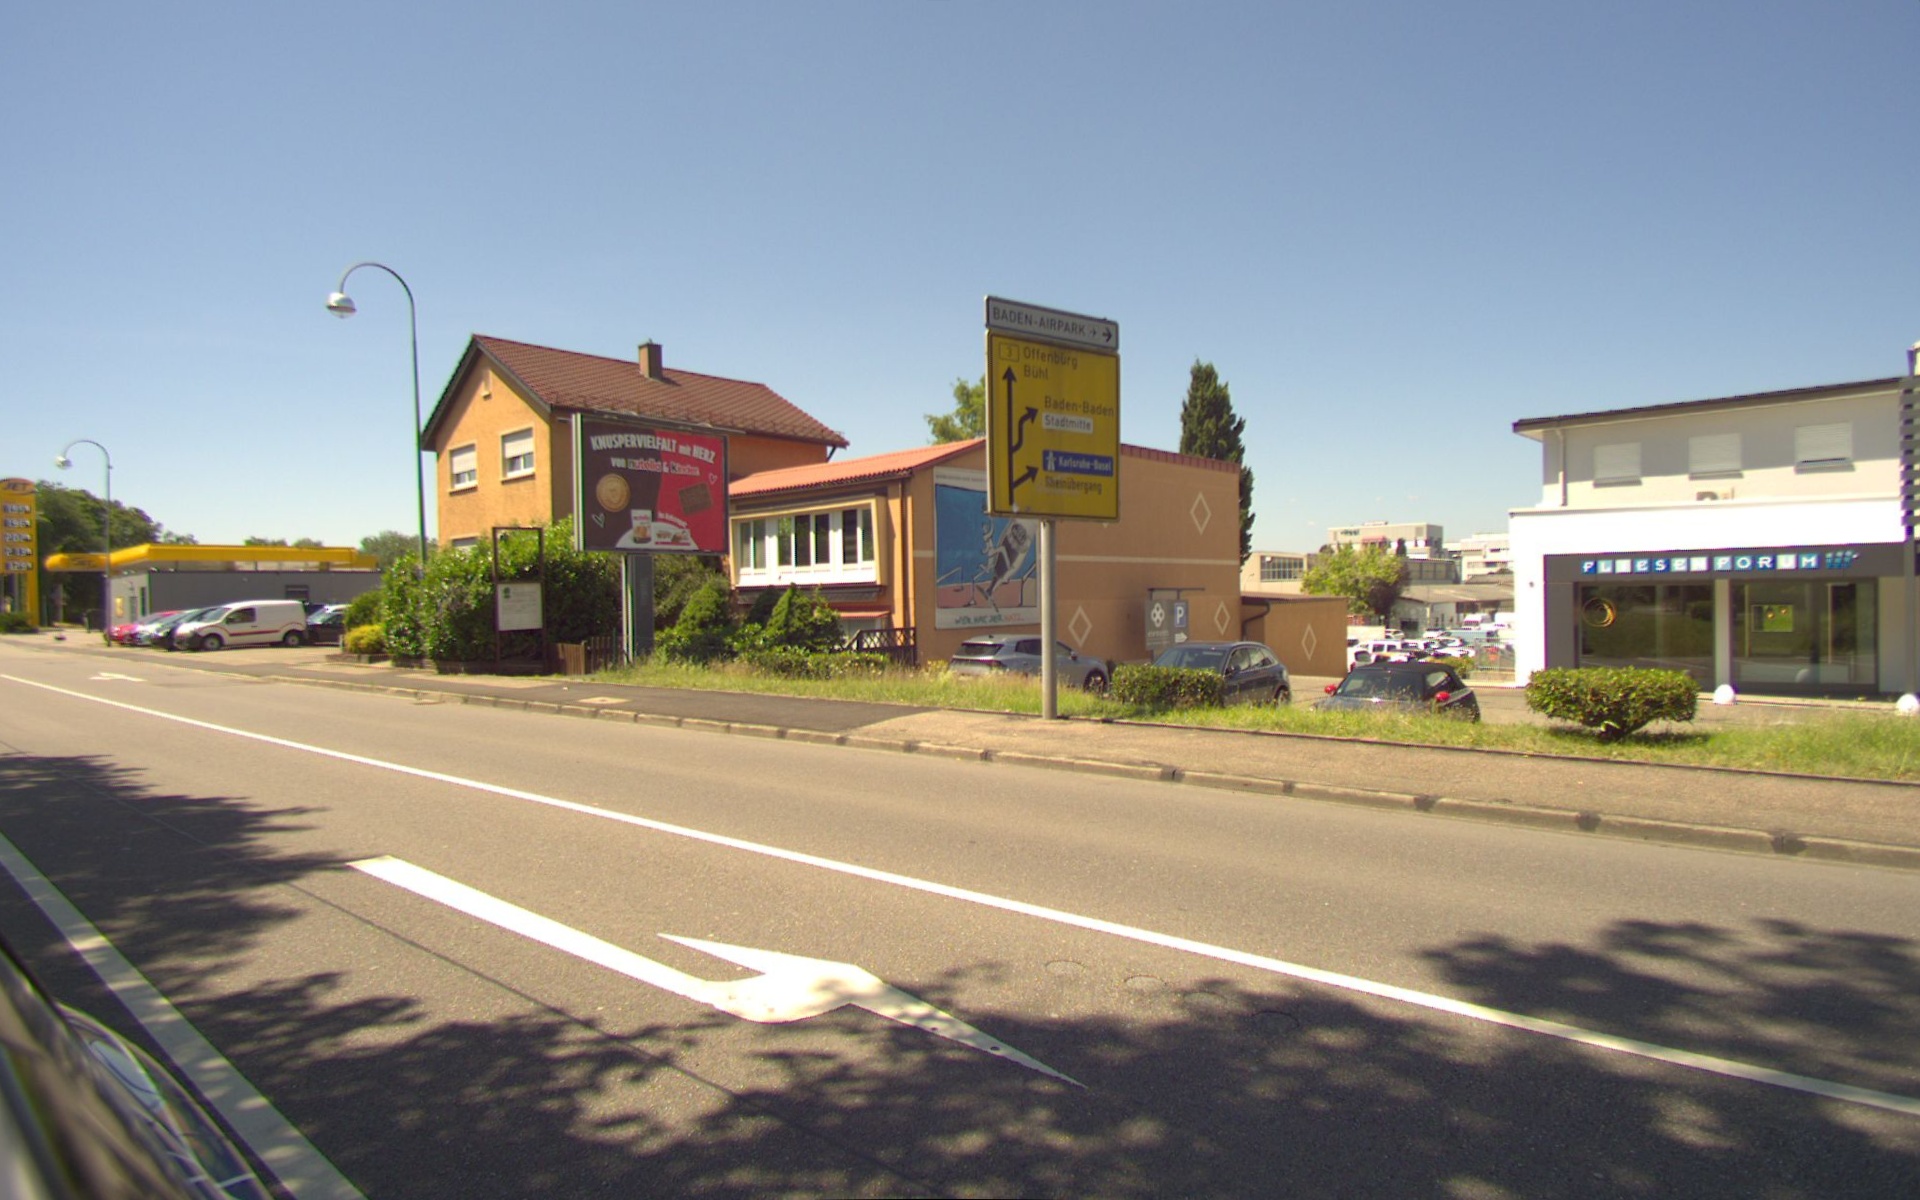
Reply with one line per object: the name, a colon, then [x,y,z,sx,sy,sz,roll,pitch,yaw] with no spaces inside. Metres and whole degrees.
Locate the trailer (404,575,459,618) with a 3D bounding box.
trailer: [-41.629,-0.224,79.659,5.911,3.244,1.845,-1,-1,41]

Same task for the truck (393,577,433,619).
truck: [-44.317,-0.138,82.040,3.188,3.267,1.826,-2,-1,41]

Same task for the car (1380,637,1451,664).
car: [30.767,3.404,68.408,3.998,1.617,1.813,0,0,41]

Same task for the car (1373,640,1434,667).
car: [28.301,3.395,64.602,3.320,1.558,1.509,0,0,41]

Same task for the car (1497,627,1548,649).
car: [42.257,2.823,76.026,3.125,1.545,1.663,0,0,41]

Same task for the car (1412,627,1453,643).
car: [44.807,3.323,95.995,3.125,1.395,1.663,0,0,41]

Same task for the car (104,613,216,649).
car: [-36.095,1.366,45.729,1.890,1.468,3.628,0,0,38]

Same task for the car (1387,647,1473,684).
car: [24.998,3.458,53.857,3.816,1.740,1.729,0,0,41]

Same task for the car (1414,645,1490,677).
car: [27.413,3.375,56.431,3.466,1.604,1.702,0,0,41]

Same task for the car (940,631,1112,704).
car: [1.609,1.492,23.599,3.979,1.462,1.781,0,-1,-43]

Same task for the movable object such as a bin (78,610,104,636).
movable object such as a bin: [-54.570,1.463,63.582,1.427,1.528,0.942,-2,3,42]

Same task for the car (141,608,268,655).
car: [-29.465,1.181,39.533,1.920,1.685,3.628,0,0,38]

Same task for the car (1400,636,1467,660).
car: [33.598,3.400,71.887,3.998,1.486,1.733,0,0,41]

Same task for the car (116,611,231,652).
car: [-34.214,1.340,44.087,1.879,1.617,3.628,0,0,38]

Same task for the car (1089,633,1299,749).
car: [4.377,1.532,18.491,1.895,1.699,4.285,0,0,42]

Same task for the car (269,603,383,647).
car: [-28.077,1.068,44.905,1.998,1.875,3.864,-1,-1,39]

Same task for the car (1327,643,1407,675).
car: [23.698,3.406,58.954,3.998,1.665,1.725,0,0,41]

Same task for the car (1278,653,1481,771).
car: [6.535,1.619,15.640,1.781,1.434,3.300,-1,-1,45]

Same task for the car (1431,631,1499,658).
car: [36.437,3.156,73.044,3.998,1.829,1.973,-1,-1,41]

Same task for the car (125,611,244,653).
car: [-32.645,1.313,42.676,1.920,1.593,3.628,0,0,38]

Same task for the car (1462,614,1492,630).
car: [61.224,2.604,119.827,3.939,1.843,2.002,-1,0,-43]

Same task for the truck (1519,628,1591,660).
truck: [40.411,2.976,68.809,3.982,1.992,1.663,0,1,41]

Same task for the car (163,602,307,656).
car: [-27.541,1.047,38.571,1.996,1.912,4.057,0,0,36]

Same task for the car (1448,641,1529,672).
car: [31.462,3.334,60.321,3.998,1.648,1.824,0,0,41]

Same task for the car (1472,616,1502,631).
car: [59.303,2.595,113.834,2.000,1.608,3.943,-1,-1,43]

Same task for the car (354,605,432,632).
car: [-35.929,1.144,64.183,1.754,1.596,3.944,0,0,42]

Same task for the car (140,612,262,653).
car: [-30.925,1.280,41.322,1.920,1.543,3.628,0,0,38]

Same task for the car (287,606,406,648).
car: [-26.202,1.135,43.333,1.828,1.580,3.948,-1,1,39]

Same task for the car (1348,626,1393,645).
car: [34.117,2.939,84.094,3.220,1.488,1.350,0,0,41]

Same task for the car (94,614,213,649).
car: [-37.797,1.451,47.510,1.825,1.455,4.084,0,0,40]
